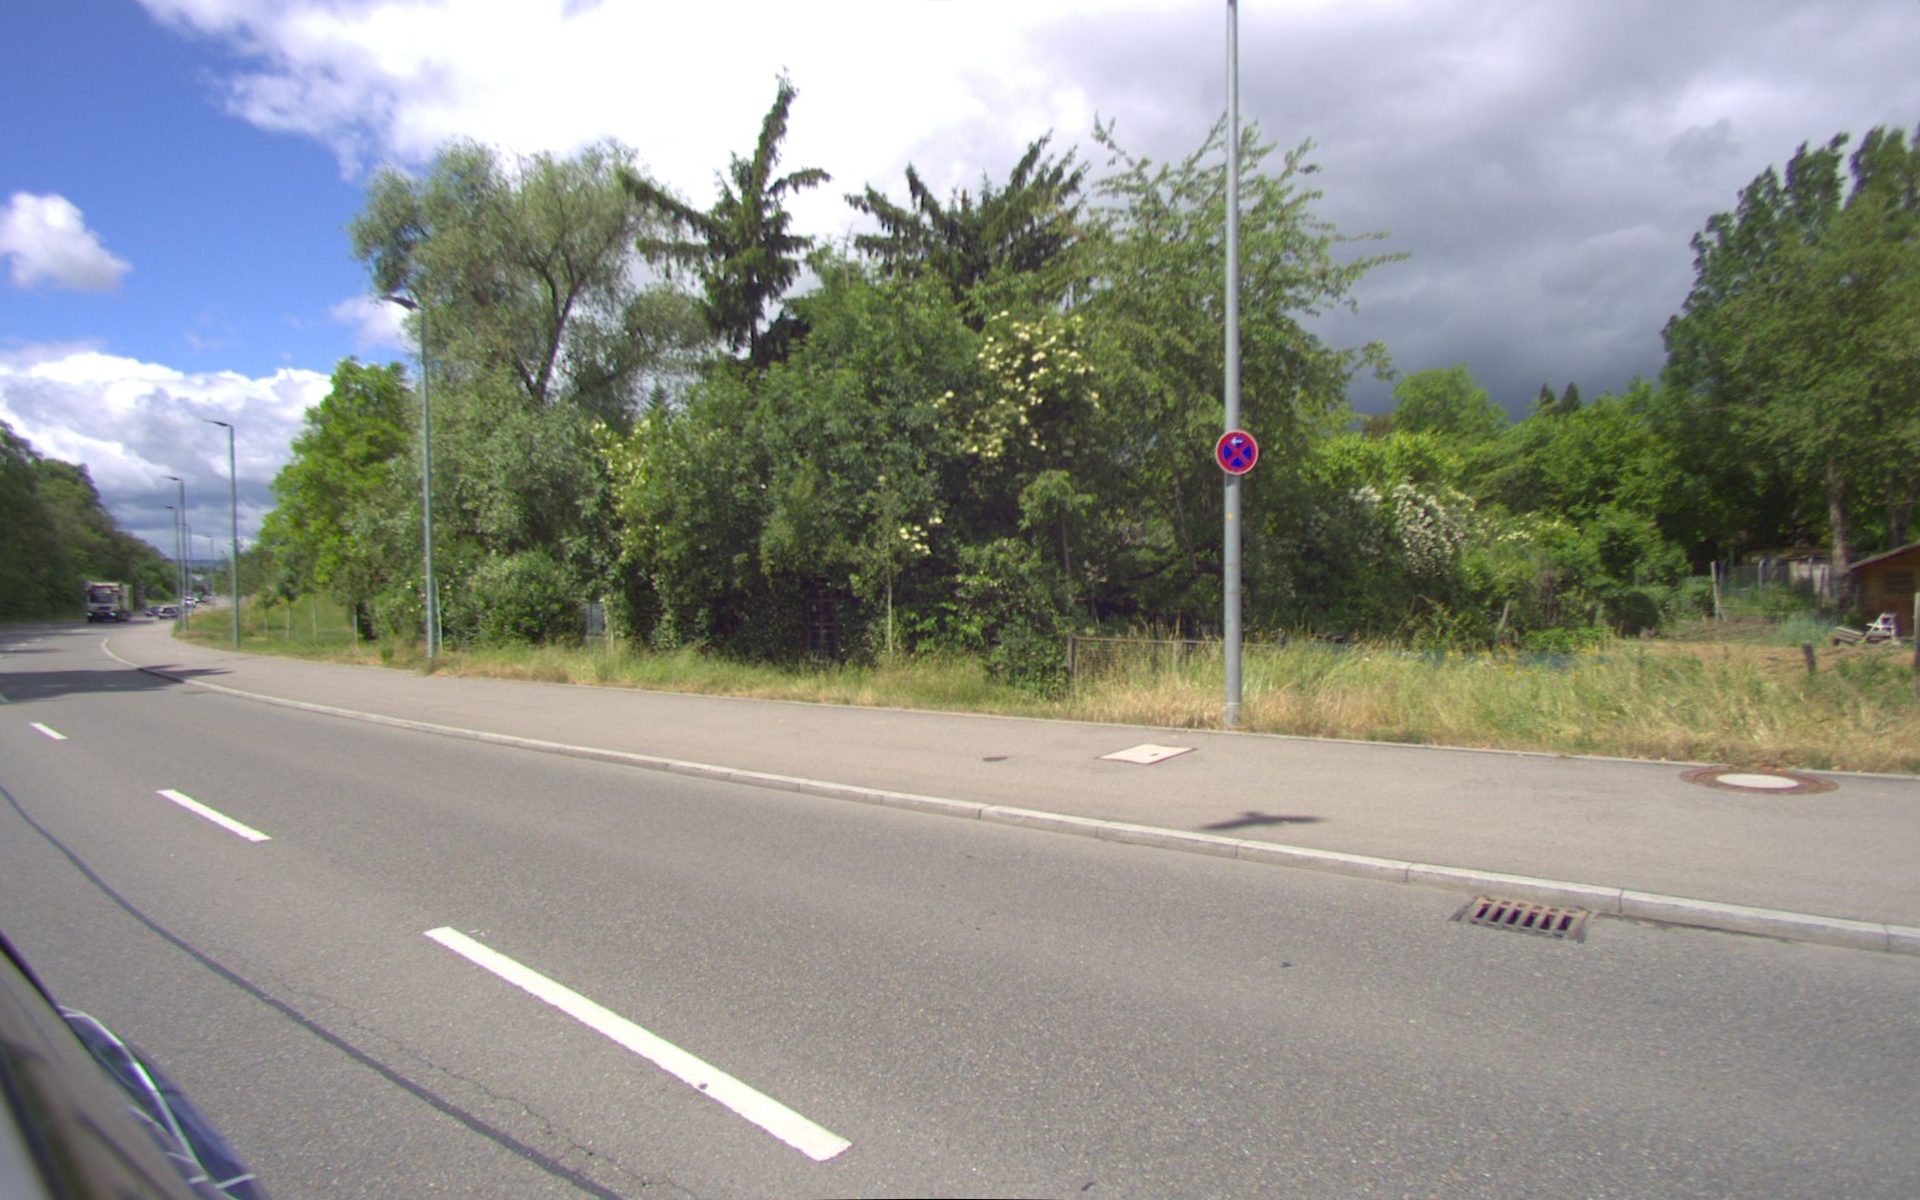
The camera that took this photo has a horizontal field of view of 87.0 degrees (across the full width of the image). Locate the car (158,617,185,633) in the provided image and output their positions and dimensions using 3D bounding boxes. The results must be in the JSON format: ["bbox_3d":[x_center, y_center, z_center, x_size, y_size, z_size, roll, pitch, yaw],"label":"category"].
[{"bbox_3d":[-85.339,2.667,109.569,1.774,1.674,4.012,0,-1,-31],"label":"car"}]

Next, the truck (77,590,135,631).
[{"bbox_3d":[-83.698,1.015,99.376,3.189,3.889,9.900,0,-1,-34],"label":"truck"}]

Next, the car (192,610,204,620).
[{"bbox_3d":[-156.300,3.055,207.540,1.967,2.029,4.009,-1,-1,-36],"label":"car"}]

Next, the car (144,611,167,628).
[{"bbox_3d":[-102.130,2.475,128.518,1.967,2.029,4.010,0,-1,-35],"label":"car"}]
